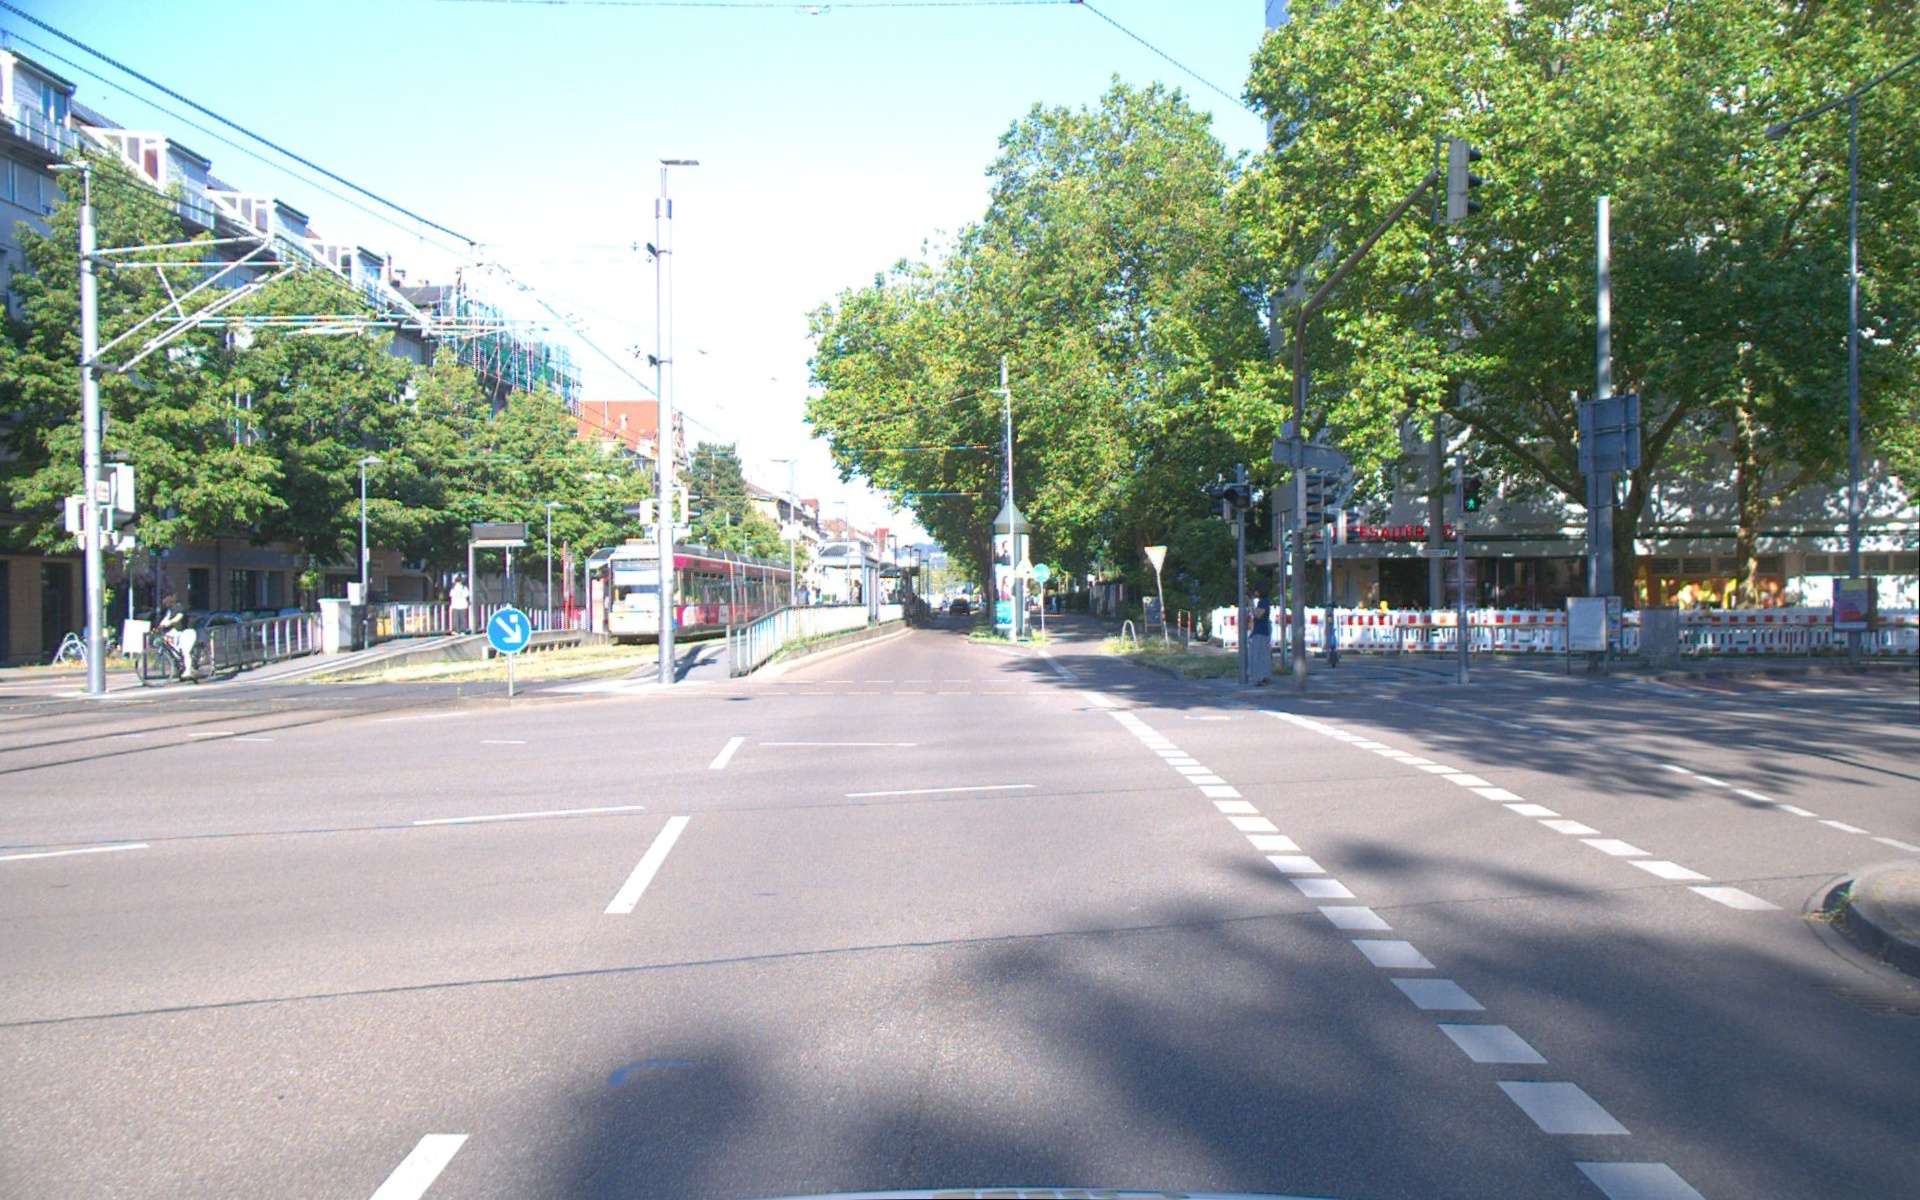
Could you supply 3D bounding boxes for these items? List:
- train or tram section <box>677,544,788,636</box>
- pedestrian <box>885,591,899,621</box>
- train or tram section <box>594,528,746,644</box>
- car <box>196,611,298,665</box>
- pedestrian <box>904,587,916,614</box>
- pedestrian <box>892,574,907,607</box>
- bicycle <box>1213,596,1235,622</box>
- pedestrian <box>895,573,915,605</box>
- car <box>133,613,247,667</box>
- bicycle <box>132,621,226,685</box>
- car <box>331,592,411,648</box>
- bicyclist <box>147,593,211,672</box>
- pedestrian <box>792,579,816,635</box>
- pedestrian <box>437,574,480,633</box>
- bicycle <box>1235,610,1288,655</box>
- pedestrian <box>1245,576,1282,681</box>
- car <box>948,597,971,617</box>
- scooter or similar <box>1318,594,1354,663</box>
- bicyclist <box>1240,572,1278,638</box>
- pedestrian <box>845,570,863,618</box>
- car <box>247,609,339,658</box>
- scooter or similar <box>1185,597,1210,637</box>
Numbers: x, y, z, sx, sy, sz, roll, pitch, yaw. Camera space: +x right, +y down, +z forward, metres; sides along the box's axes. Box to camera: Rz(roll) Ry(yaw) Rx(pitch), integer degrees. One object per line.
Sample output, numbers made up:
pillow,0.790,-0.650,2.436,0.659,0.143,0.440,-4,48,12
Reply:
train or tram section,-10.175,-0.389,75.728,2.810,3.750,14.561,-1,0,1
pedestrian,-3.588,0.318,87.671,0.664,1.589,0.851,1,0,0
train or tram section,-10.407,-0.440,61.179,2.810,3.740,14.561,-1,0,1
car,-24.319,1.269,56.550,1.769,1.706,3.785,1,0,0
pedestrian,-3.278,0.027,108.404,0.665,1.720,0.894,1,0,1
pedestrian,-3.364,-0.509,91.629,0.749,1.789,0.695,1,0,0
bicycle,12.661,0.436,79.408,0.773,1.198,1.820,1,0,0
pedestrian,-3.136,-0.629,93.921,0.899,1.752,0.624,1,0,-33
car,-24.312,1.227,52.371,1.769,1.606,3.785,1,0,0
bicycle,-14.052,0.933,29.803,0.522,1.072,1.826,0,0,12
car,-24.218,0.789,68.121,1.900,2.204,3.785,1,0,0
bicyclist,-14.050,0.566,29.773,0.522,1.396,1.020,0,0,12
pedestrian,-4.647,0.193,49.230,0.617,1.638,0.982,1,0,-1
pedestrian,-13.846,0.097,45.673,0.881,1.608,0.958,1,0,-2
bicycle,7.311,0.782,40.227,0.593,1.044,1.760,-1,0,-14
pedestrian,4.862,0.447,26.524,0.419,1.668,0.612,0,0,-7
car,-0.068,0.644,147.075,1.952,1.713,4.000,1,0,1
scooter or similar,7.246,0.546,31.937,0.548,1.279,1.291,-2,-1,9
bicyclist,7.283,0.125,40.282,0.593,1.578,0.857,-1,0,-14
pedestrian,-4.338,-0.232,67.637,0.655,1.935,0.824,1,0,0
car,-24.330,1.196,60.467,1.769,1.664,3.785,1,0,0
scooter or similar,7.774,0.569,54.228,0.549,1.279,1.289,-2,-1,-3
